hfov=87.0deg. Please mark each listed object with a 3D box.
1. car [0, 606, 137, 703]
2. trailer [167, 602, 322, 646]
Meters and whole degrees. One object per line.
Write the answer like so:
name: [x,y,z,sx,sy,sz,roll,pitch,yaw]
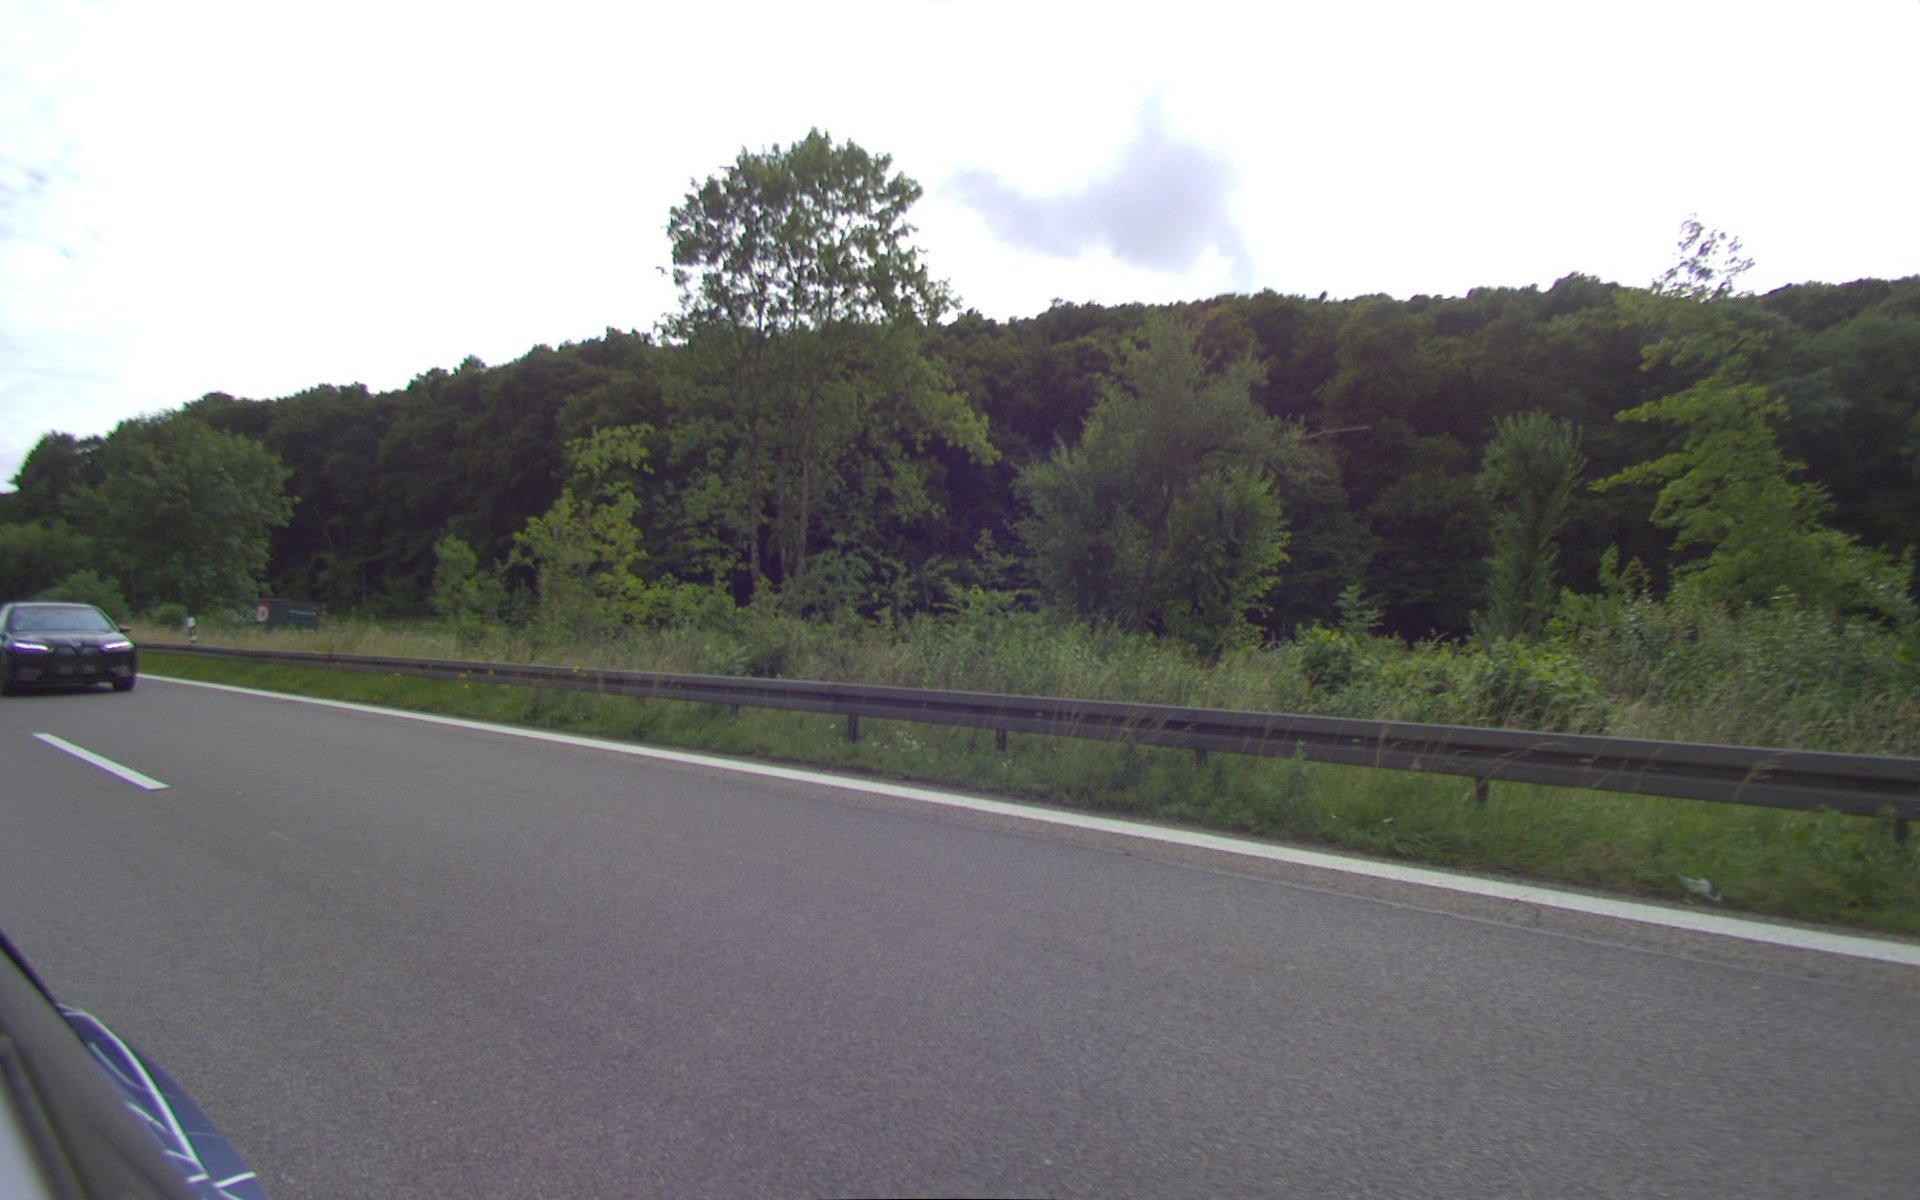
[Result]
car: [-17.750,0.981,19.576,4.410,1.678,1.974,-1,-2,39]
trailer: [-55.892,1.887,78.901,13.725,3.244,3.137,-1,-1,23]
